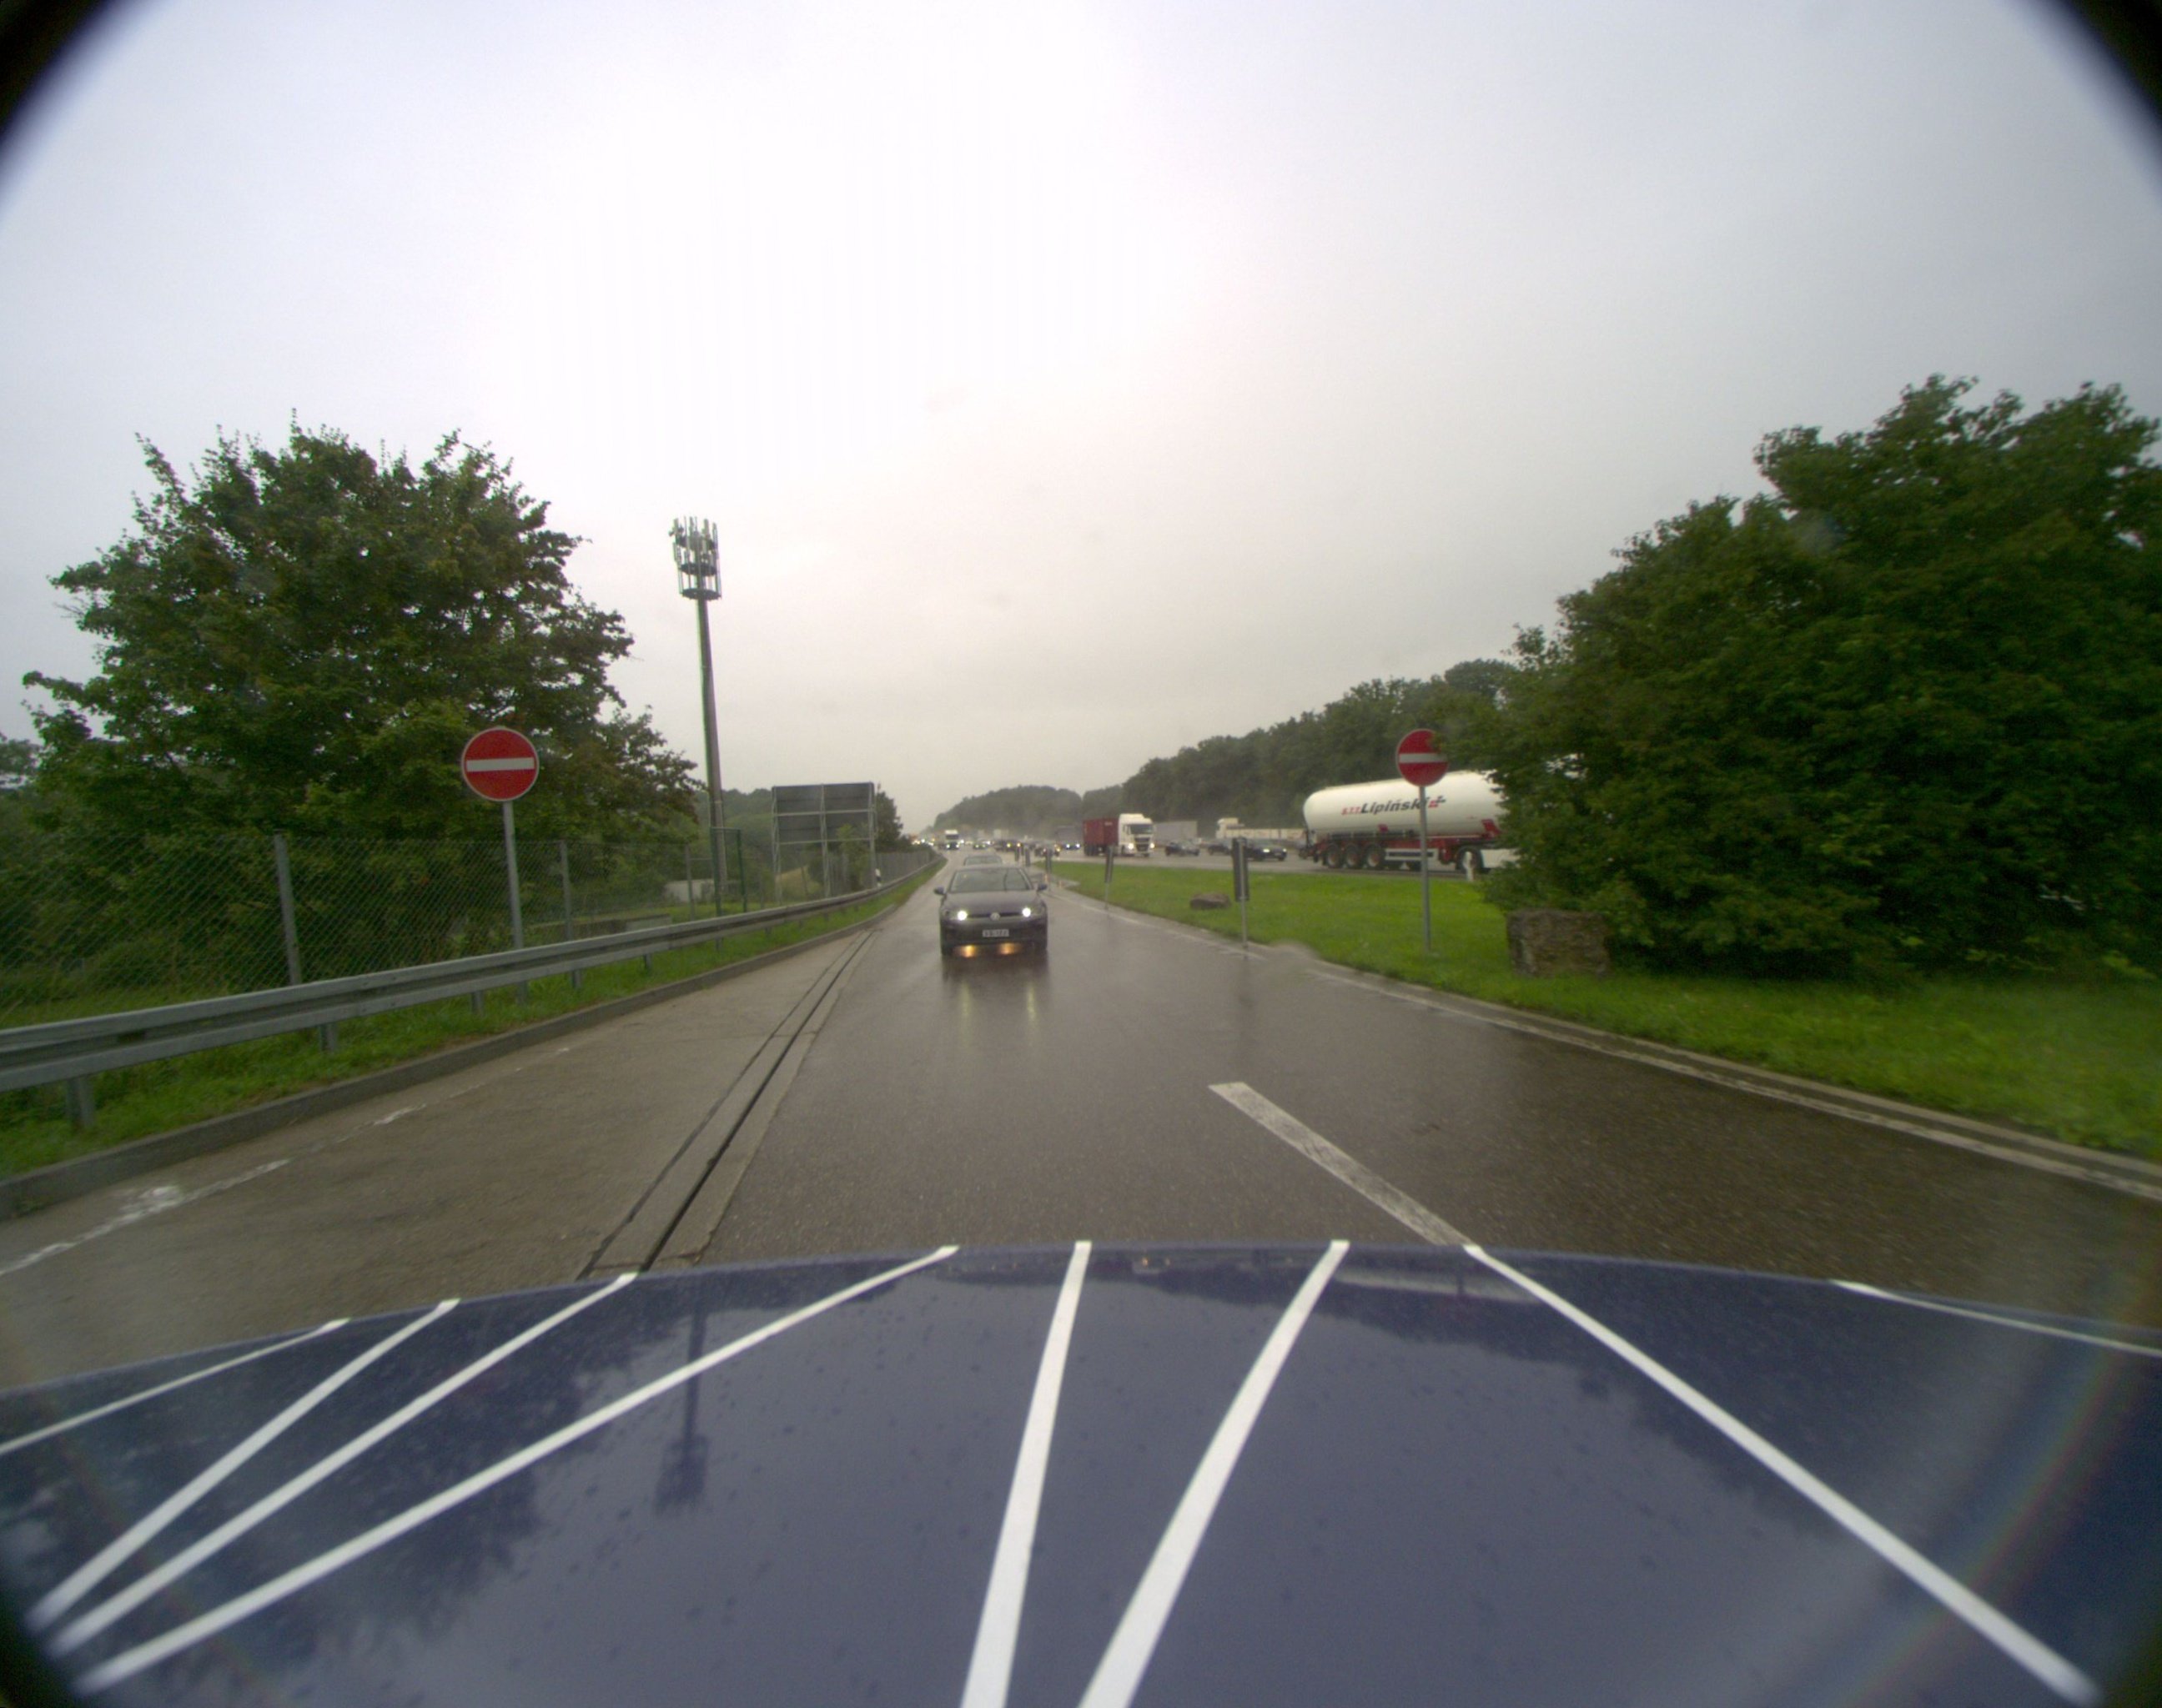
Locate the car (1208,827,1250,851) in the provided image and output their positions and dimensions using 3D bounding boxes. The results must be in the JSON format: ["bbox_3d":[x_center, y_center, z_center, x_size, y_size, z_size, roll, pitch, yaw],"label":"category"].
[{"bbox_3d":[13.267,-1.305,68.389,2.001,2.002,3.993,-3,1,-18],"label":"car"}]

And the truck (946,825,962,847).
[{"bbox_3d":[-25.124,-3.514,149.717,2.599,4.122,5.224,-6,2,-11],"label":"truck"}]

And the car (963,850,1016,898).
[{"bbox_3d":[-3.651,0.726,30.157,1.811,1.533,3.996,-6,2,-8],"label":"car"}]

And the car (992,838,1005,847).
[{"bbox_3d":[-18.419,-2.580,169.955,2.001,1.802,3.993,-2,1,-18],"label":"car"}]

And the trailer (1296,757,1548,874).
[{"bbox_3d":[13.374,-1.386,31.548,2.773,4.003,11.022,-2,1,-19],"label":"trailer"}]

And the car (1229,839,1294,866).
[{"bbox_3d":[11.724,-0.077,49.637,2.001,1.568,4.495,-4,1,-19],"label":"car"}]

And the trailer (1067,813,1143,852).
[{"bbox_3d":[2.144,-2.185,78.605,2.693,3.486,15.099,-6,3,-17],"label":"trailer"}]

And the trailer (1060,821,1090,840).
[{"bbox_3d":[-1.474,-5.432,175.492,3.039,3.790,13.387,-5,2,-17],"label":"trailer"}]

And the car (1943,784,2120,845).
[{"bbox_3d":[35.354,-1.405,28.393,1.683,1.727,3.648,-8,-1,-19],"label":"car"}]

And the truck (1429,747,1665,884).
[{"bbox_3d":[15.371,-1.213,25.709,2.761,3.986,6.496,-3,2,-19],"label":"truck"}]

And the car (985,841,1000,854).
[{"bbox_3d":[-16.674,-1.277,142.614,1.919,2.004,3.992,-9,5,-14],"label":"car"}]

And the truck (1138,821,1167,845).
[{"bbox_3d":[12.147,-3.551,129.656,2.724,3.514,4.754,-7,1,-20],"label":"truck"}]

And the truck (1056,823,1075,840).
[{"bbox_3d":[-3.734,-5.452,182.466,3.053,3.726,5.636,-5,2,-17],"label":"truck"}]

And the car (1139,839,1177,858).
[{"bbox_3d":[9.089,-0.718,90.204,2.001,2.003,5.569,-8,4,-20],"label":"car"}]

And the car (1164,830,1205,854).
[{"bbox_3d":[9.254,-1.041,68.089,2.001,2.002,4.105,-3,2,-18],"label":"car"}]

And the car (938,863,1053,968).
[{"bbox_3d":[-1.622,0.944,13.566,1.671,1.395,4.257,-3,1,-9],"label":"car"}]

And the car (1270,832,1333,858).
[{"bbox_3d":[14.998,-0.558,51.936,1.826,1.659,4.397,-1,0,-21],"label":"car"}]

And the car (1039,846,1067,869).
[{"bbox_3d":[-3.016,0.315,80.641,1.919,2.004,3.992,-9,5,-14],"label":"car"}]

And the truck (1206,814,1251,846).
[{"bbox_3d":[18.751,-3.017,97.006,2.632,3.649,5.982,-6,1,-19],"label":"truck"}]

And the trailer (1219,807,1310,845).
[{"bbox_3d":[21.311,-3.150,89.710,2.625,3.660,14.649,-6,1,-19],"label":"trailer"}]

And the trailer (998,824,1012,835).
[{"bbox_3d":[-26.134,-8.557,262.220,2.658,3.478,13.465,-3,2,-14],"label":"trailer"}]

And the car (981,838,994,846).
[{"bbox_3d":[-19.944,-2.508,161.904,1.798,1.499,3.993,-2,1,-18],"label":"car"}]

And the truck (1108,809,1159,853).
[{"bbox_3d":[4.791,-2.113,70.181,2.699,3.637,5.316,-6,3,-17],"label":"truck"}]

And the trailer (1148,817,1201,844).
[{"bbox_3d":[14.900,-3.735,122.730,2.734,3.519,14.041,-7,1,-16],"label":"trailer"}]
